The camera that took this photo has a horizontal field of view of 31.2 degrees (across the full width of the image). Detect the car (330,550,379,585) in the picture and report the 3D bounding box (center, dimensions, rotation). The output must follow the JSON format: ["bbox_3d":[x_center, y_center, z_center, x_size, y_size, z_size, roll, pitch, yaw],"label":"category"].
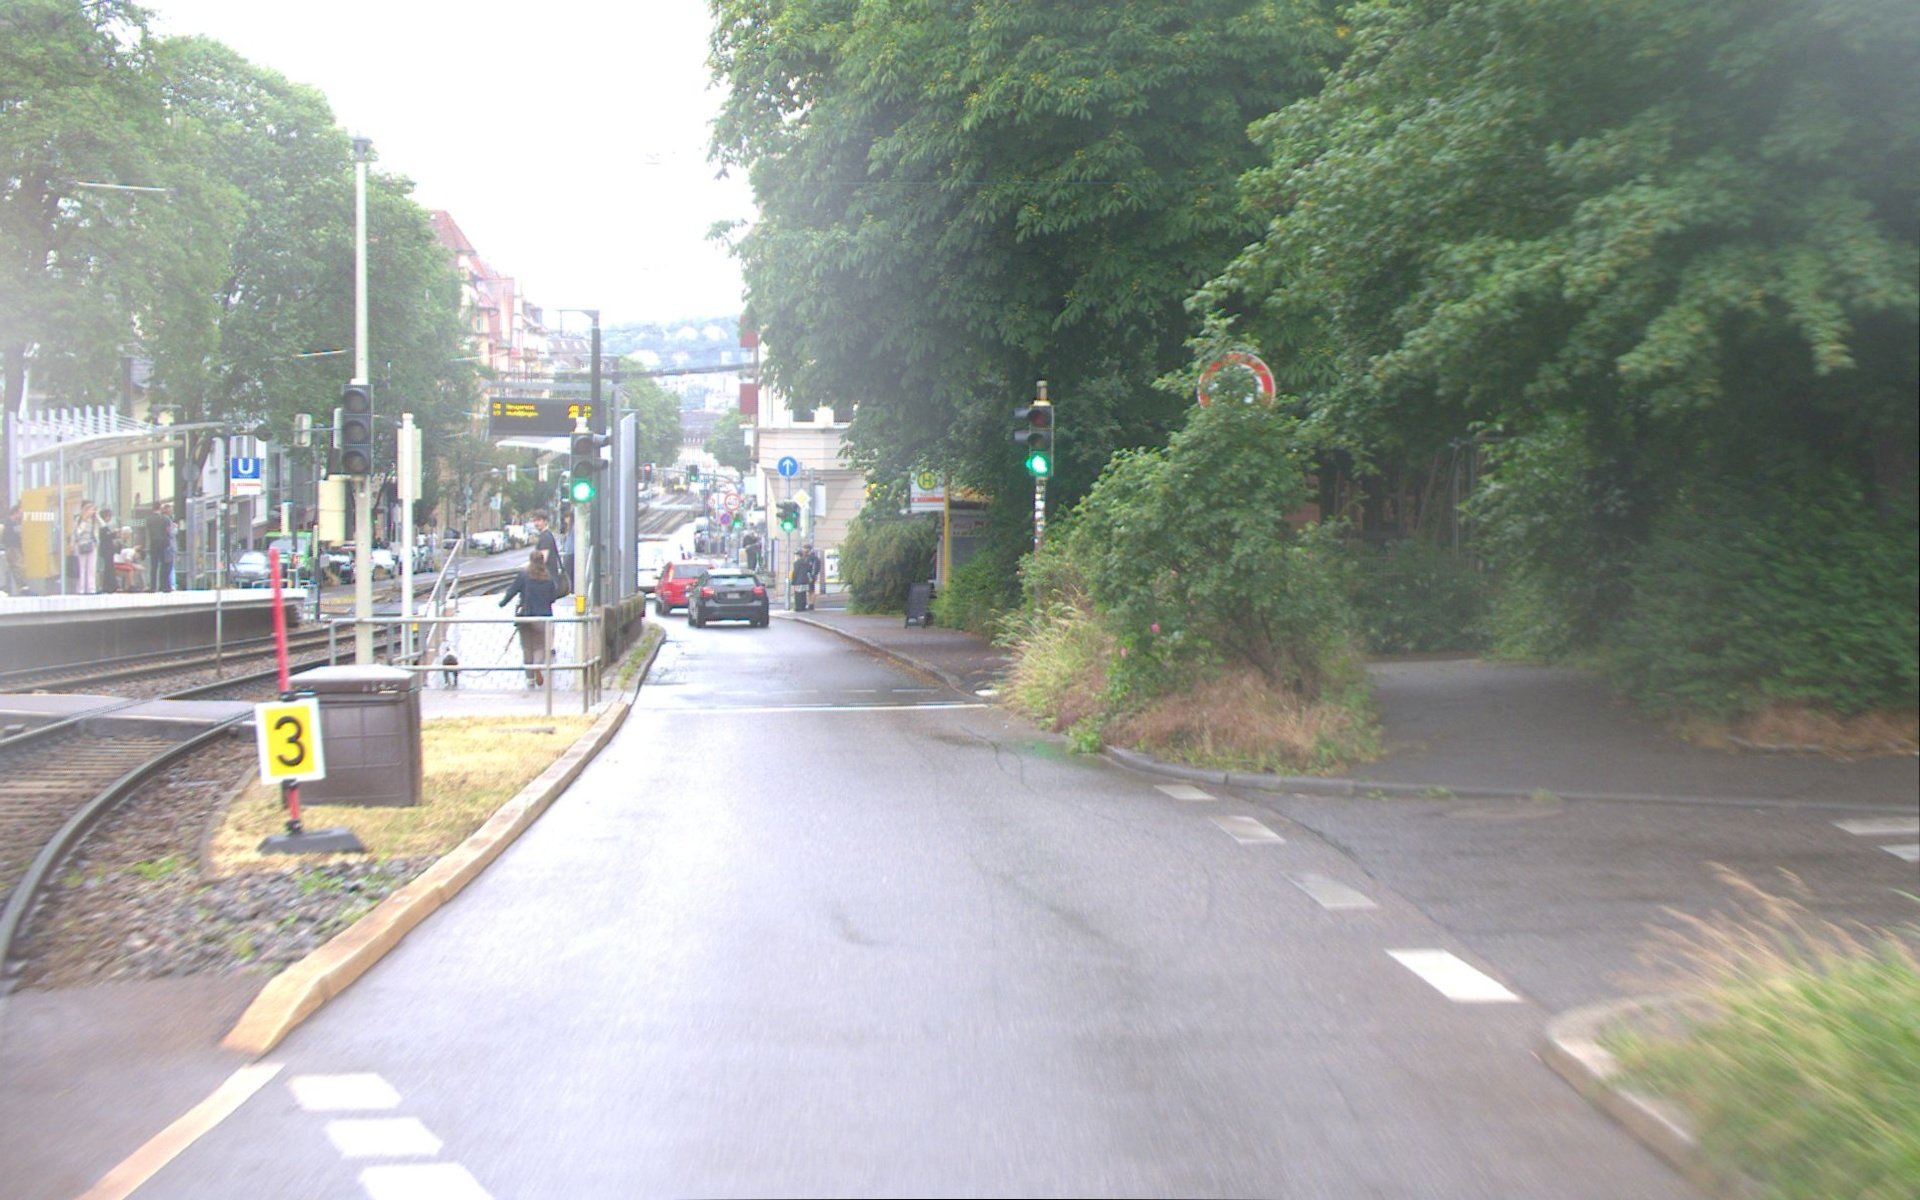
[{"bbox_3d":[-27.801,-1.482,157.906,1.773,1.541,4.256,-1,1,-4],"label":"car"}]

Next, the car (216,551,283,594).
[{"bbox_3d":[-26.143,-1.018,126.620,1.726,1.510,4.496,0,1,-3],"label":"car"}]

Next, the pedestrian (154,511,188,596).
[{"bbox_3d":[-16.172,-0.945,70.487,0.550,1.735,0.614,-1,0,-4],"label":"pedestrian"}]

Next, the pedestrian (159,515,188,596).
[{"bbox_3d":[-16.915,-0.949,73.923,0.482,1.735,0.563,-1,0,-4],"label":"pedestrian"}]

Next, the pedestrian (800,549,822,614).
[{"bbox_3d":[-4.172,-0.517,96.442,0.553,1.807,0.651,1,0,-6],"label":"pedestrian"}]

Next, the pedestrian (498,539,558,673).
[{"bbox_3d":[-5.087,0.068,40.491,0.650,1.557,0.684,1,0,-3],"label":"pedestrian"}]

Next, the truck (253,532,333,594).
[{"bbox_3d":[-26.490,-1.468,136.775,2.051,2.385,6.321,0,0,-1],"label":"truck"}]

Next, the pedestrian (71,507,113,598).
[{"bbox_3d":[-16.074,-0.875,63.694,0.594,1.660,0.762,-1,0,-4],"label":"pedestrian"}]

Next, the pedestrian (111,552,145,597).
[{"bbox_3d":[-16.526,-0.507,68.309,0.550,0.869,0.614,-1,0,-4],"label":"pedestrian"}]

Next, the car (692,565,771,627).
[{"bbox_3d":[-5.685,-0.117,85.236,1.851,1.468,4.001,0,1,-5],"label":"car"}]

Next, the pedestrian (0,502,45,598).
[{"bbox_3d":[-16.429,-0.875,60.238,0.594,1.660,0.762,-1,0,-4],"label":"pedestrian"}]

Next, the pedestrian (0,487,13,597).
[{"bbox_3d":[-16.260,-0.970,57.706,0.516,1.831,0.762,-1,0,-4],"label":"pedestrian"}]

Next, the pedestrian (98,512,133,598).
[{"bbox_3d":[-16.491,-0.879,67.151,0.550,1.660,0.614,-1,0,-4],"label":"pedestrian"}]

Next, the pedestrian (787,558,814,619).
[{"bbox_3d":[-4.456,-0.329,95.795,0.695,1.689,0.556,1,0,-6],"label":"pedestrian"}]

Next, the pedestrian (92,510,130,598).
[{"bbox_3d":[-16.305,-0.878,66.033,0.594,1.660,0.591,-1,0,-4],"label":"pedestrian"}]

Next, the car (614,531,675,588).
[{"bbox_3d":[-10.442,-1.327,113.666,1.948,1.787,4.145,1,0,-6],"label":"car"}]

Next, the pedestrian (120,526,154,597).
[{"bbox_3d":[-16.561,-0.780,69.207,0.550,1.408,0.614,-1,0,-4],"label":"pedestrian"}]

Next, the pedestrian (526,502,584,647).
[{"bbox_3d":[-5.035,-0.315,42.801,0.650,1.778,0.848,1,0,-3],"label":"pedestrian"}]
